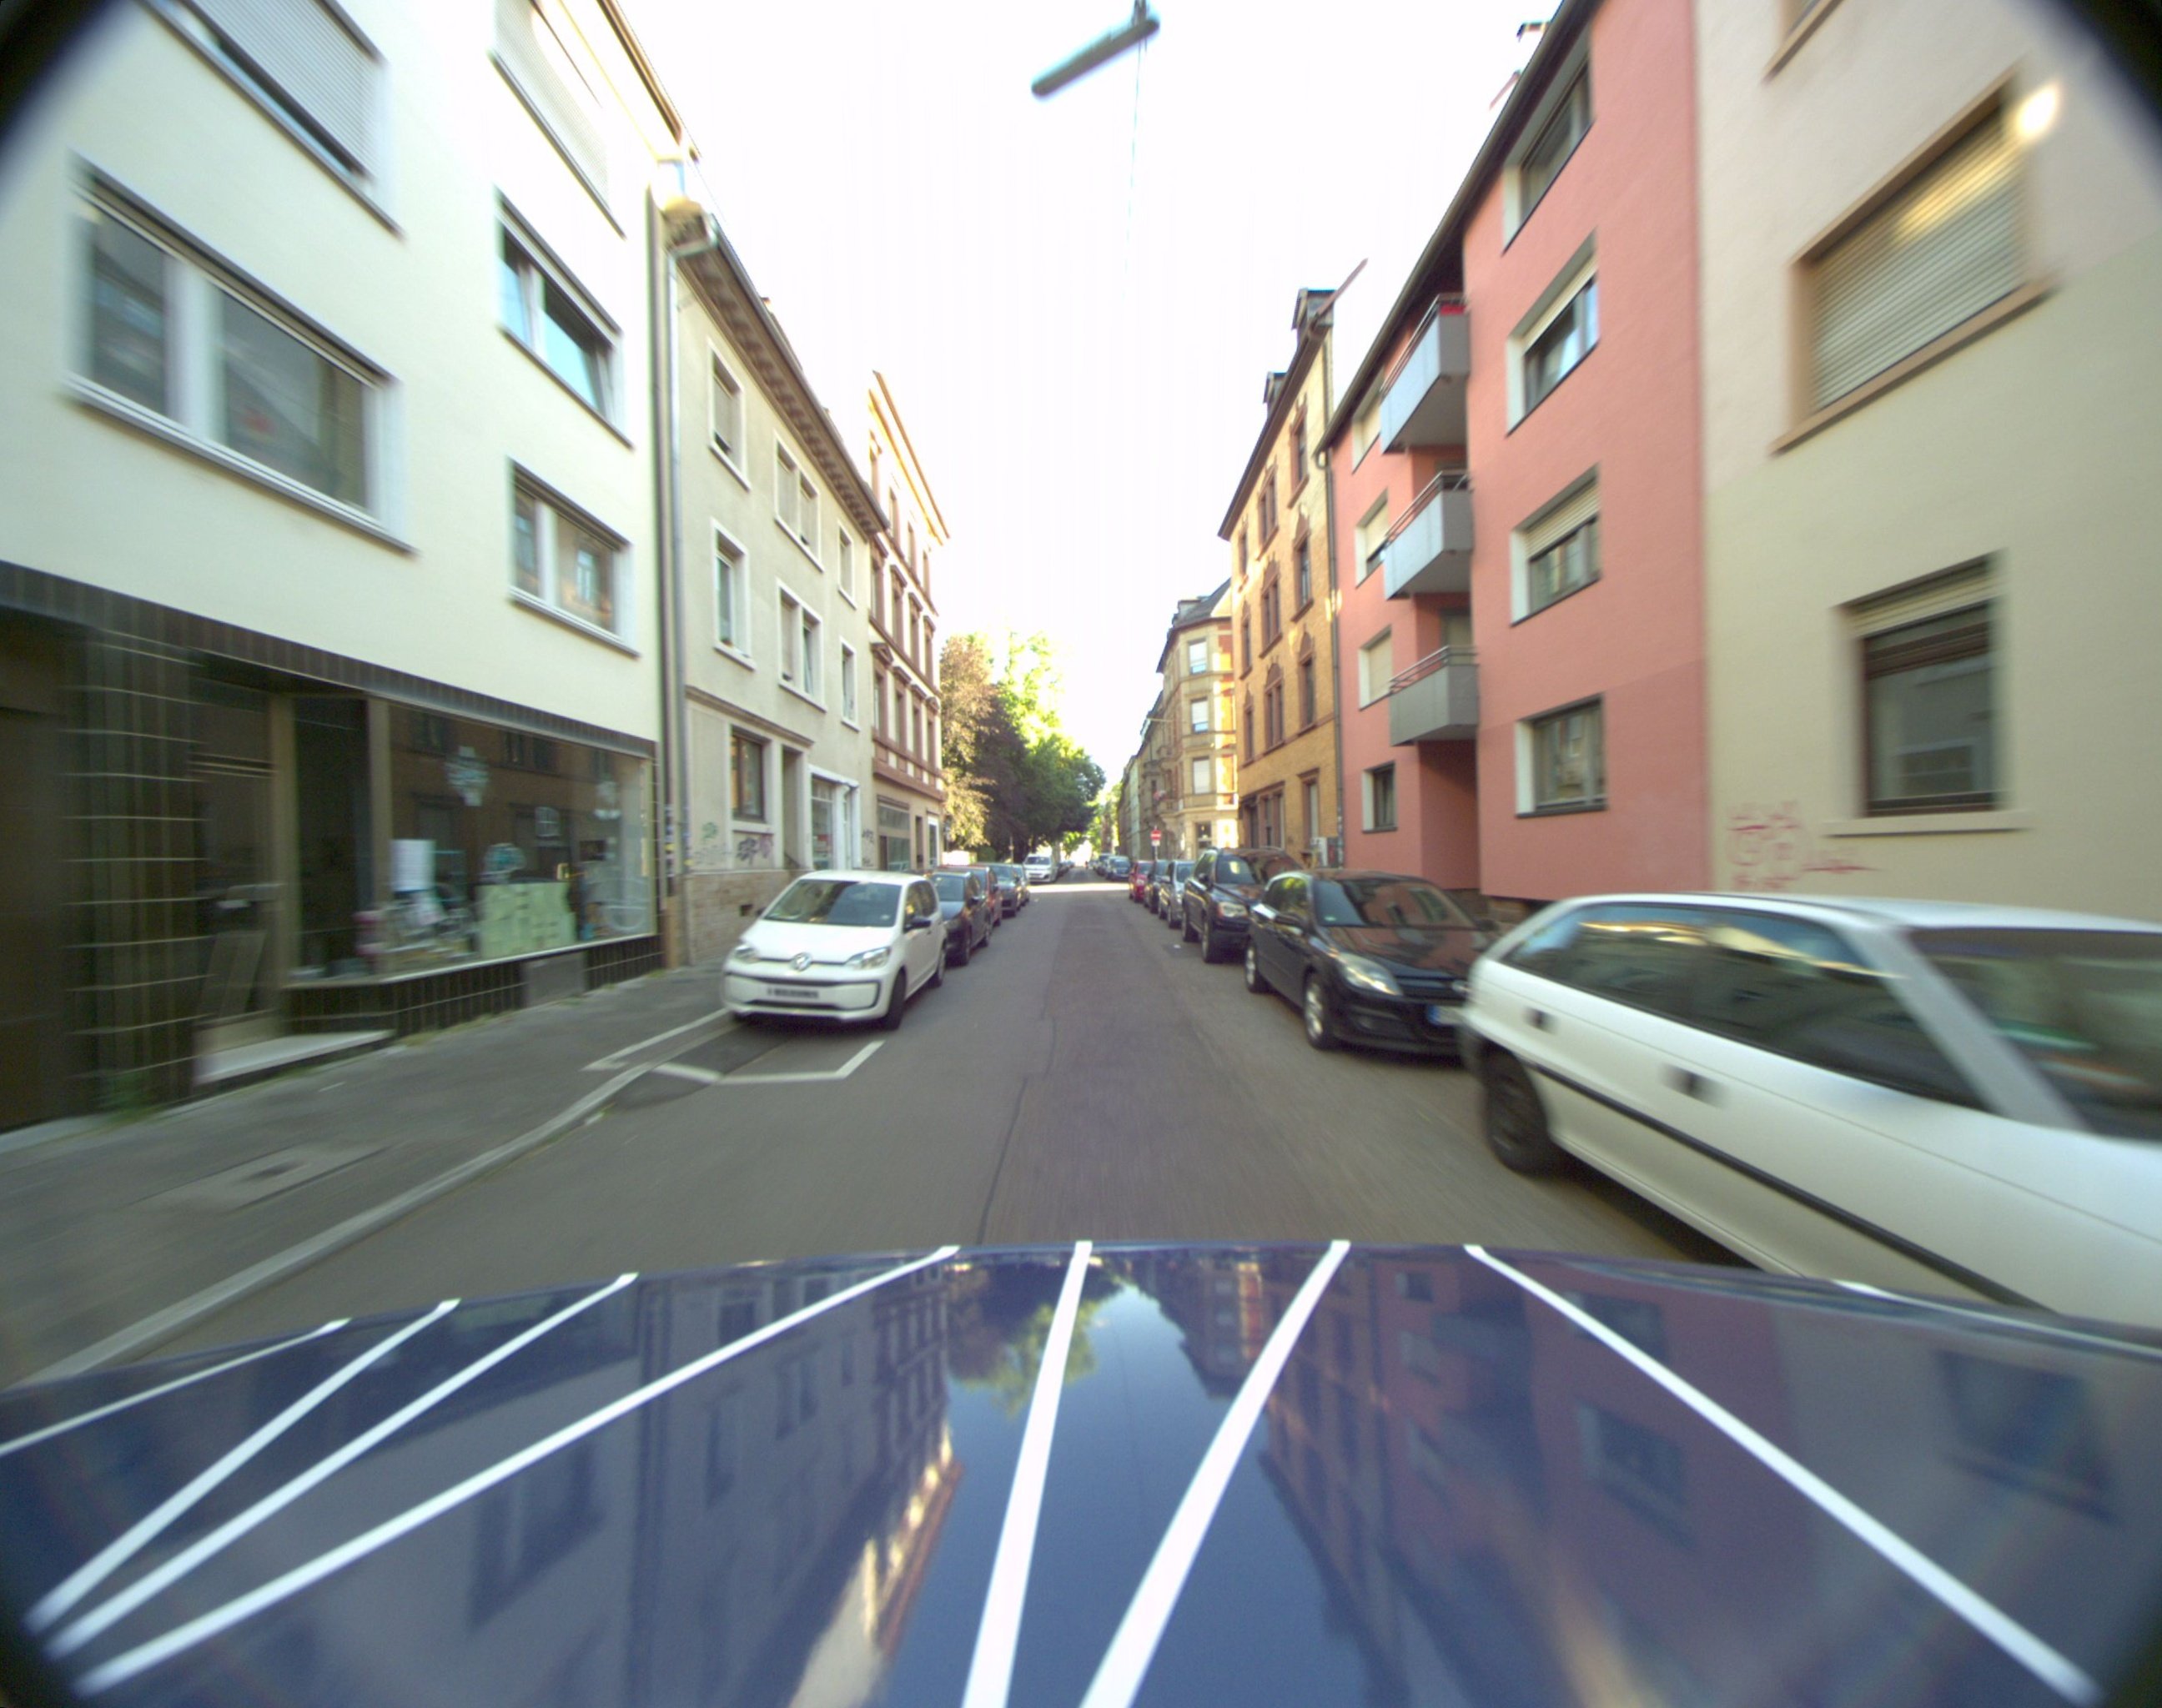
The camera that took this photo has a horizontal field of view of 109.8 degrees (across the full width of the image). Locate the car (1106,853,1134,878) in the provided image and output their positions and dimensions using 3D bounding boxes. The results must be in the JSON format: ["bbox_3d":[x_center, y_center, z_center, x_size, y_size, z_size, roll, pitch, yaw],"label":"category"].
[{"bbox_3d":[2.881,0.833,56.923,1.836,1.801,4.572,0,0,0],"label":"car"}]

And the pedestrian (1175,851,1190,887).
[{"bbox_3d":[4.706,0.693,35.193,0.549,1.635,0.717,-2,2,0],"label":"pedestrian"}]

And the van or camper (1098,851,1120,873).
[{"bbox_3d":[2.874,0.774,77.762,2.182,2.135,5.155,0,0,2],"label":"van or camper"}]

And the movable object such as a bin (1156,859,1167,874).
[{"bbox_3d":[5.769,0.873,54.466,0.639,1.035,0.856,-4,0,0],"label":"movable object such as a bin"}]

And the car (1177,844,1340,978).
[{"bbox_3d":[2.700,0.780,12.636,1.747,1.800,4.673,0,0,2],"label":"car"}]

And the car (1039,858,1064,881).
[{"bbox_3d":[-2.196,1.100,55.987,1.723,1.561,3.827,-2,0,-2],"label":"car"}]

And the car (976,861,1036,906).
[{"bbox_3d":[-2.650,1.018,27.718,1.748,1.498,4.357,0,0,0],"label":"car"}]

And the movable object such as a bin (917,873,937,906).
[{"bbox_3d":[-5.041,1.154,24.891,0.515,1.033,0.594,0,0,1],"label":"movable object such as a bin"}]

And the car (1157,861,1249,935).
[{"bbox_3d":[2.767,0.942,17.942,1.660,1.512,3.945,0,0,2],"label":"car"}]

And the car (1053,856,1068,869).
[{"bbox_3d":[-2.483,0.961,91.084,1.603,1.462,3.869,1,0,1],"label":"car"}]

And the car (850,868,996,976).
[{"bbox_3d":[-2.515,1.027,12.991,1.680,1.498,3.937,0,0,0],"label":"car"}]

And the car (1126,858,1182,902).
[{"bbox_3d":[2.587,0.906,27.605,1.632,1.472,3.601,0,0,0],"label":"car"}]

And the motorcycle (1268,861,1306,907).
[{"bbox_3d":[5.801,0.818,21.470,0.534,1.198,1.908,-2,0,1],"label":"motorcycle"}]

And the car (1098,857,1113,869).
[{"bbox_3d":[2.971,1.151,94.545,1.735,1.447,4.521,0,0,0],"label":"car"}]

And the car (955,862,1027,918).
[{"bbox_3d":[-2.585,1.003,22.648,1.748,1.498,4.020,0,0,-1],"label":"car"}]

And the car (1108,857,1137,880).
[{"bbox_3d":[2.795,0.962,51.525,1.697,1.472,3.973,0,0,0],"label":"car"}]

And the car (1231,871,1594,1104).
[{"bbox_3d":[2.685,0.956,7.362,1.747,1.498,4.347,0,0,2],"label":"car"}]

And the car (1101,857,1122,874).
[{"bbox_3d":[2.807,1.078,71.459,1.771,1.505,4.193,0,0,-1],"label":"car"}]

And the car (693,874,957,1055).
[{"bbox_3d":[-2.566,1.024,8.622,1.680,1.498,3.937,0,0,0],"label":"car"}]

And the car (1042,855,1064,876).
[{"bbox_3d":[-2.449,0.991,66.649,1.623,1.615,3.863,3,0,1],"label":"car"}]

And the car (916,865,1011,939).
[{"bbox_3d":[-2.659,1.046,18.010,1.602,1.498,4.184,0,0,0],"label":"car"}]

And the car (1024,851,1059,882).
[{"bbox_3d":[-2.558,0.793,50.229,1.919,1.986,4.792,0,0,2],"label":"car"}]

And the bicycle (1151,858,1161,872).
[{"bbox_3d":[5.926,0.890,59.958,0.572,1.035,1.546,-4,0,0],"label":"bicycle"}]

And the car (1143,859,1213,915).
[{"bbox_3d":[2.790,0.907,22.567,1.699,1.512,4.096,0,0,2],"label":"car"}]

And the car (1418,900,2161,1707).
[{"bbox_3d":[2.803,0.952,2.331,1.678,1.380,4.182,0,0,0],"label":"car"}]
